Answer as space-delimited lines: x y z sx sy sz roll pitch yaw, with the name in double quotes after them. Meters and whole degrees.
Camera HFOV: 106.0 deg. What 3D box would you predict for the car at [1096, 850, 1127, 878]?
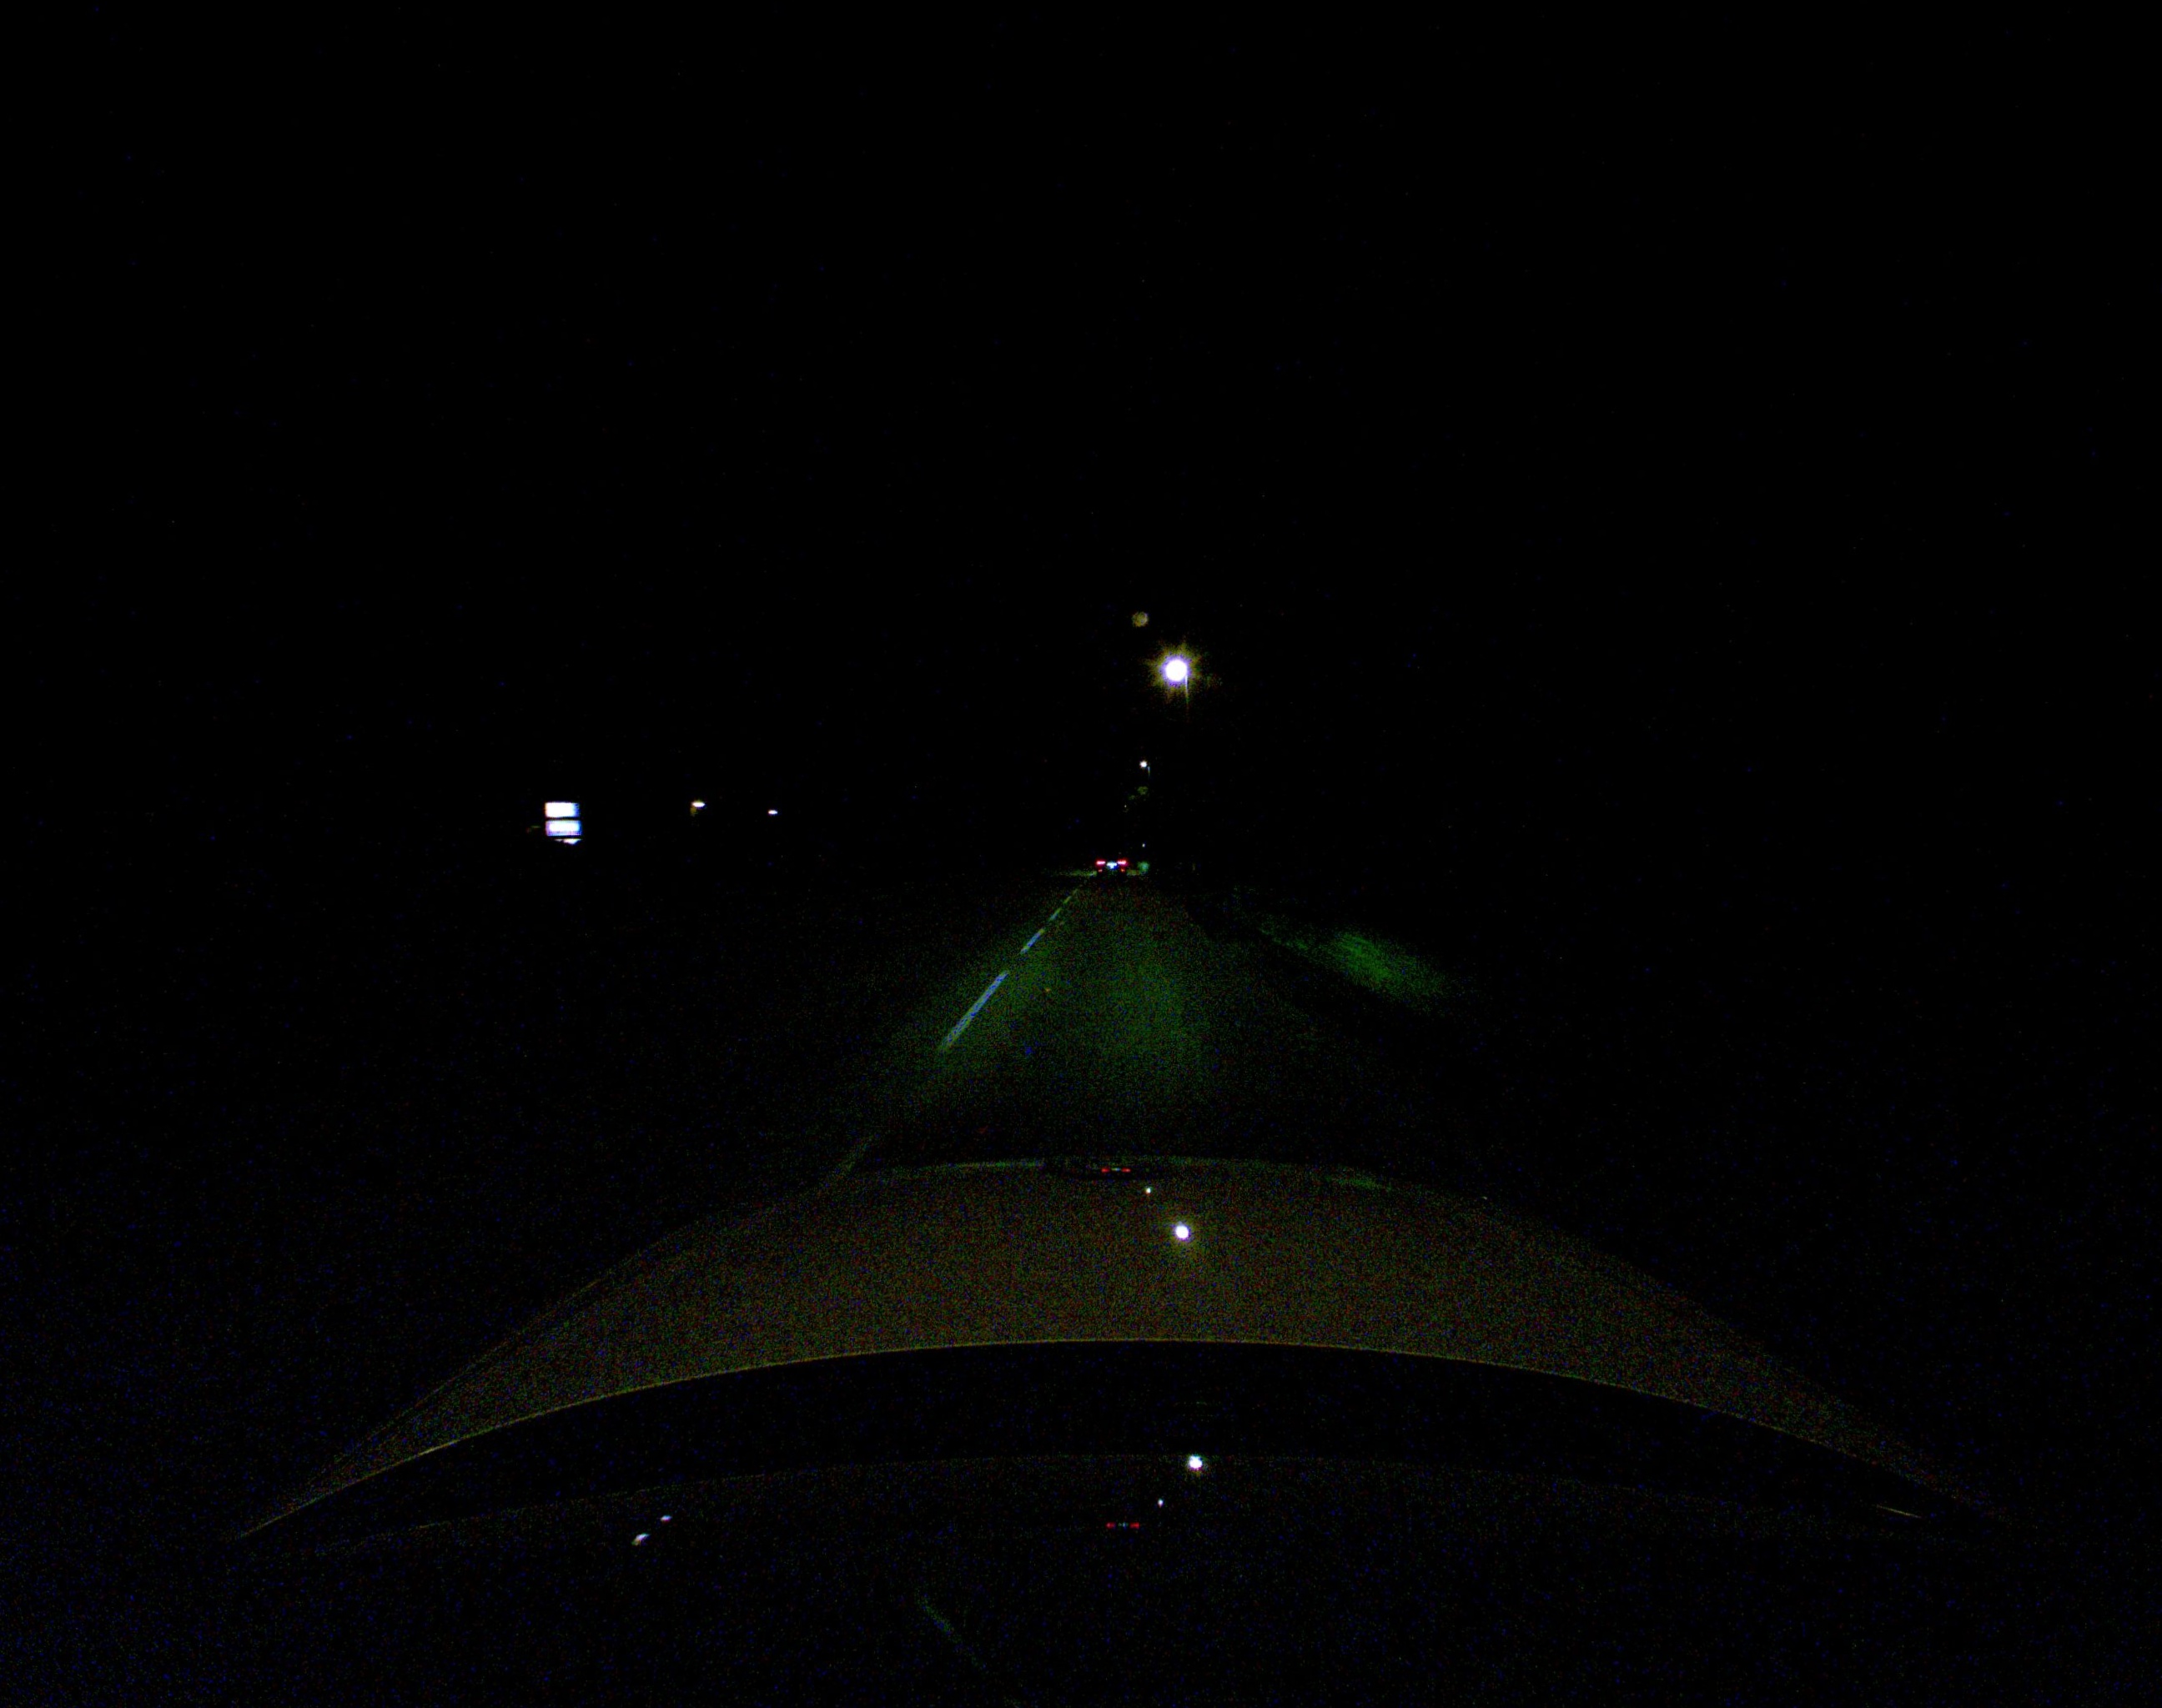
1.792 0.587 48.744 1.808 1.573 3.944 -1 0 1 "car"
